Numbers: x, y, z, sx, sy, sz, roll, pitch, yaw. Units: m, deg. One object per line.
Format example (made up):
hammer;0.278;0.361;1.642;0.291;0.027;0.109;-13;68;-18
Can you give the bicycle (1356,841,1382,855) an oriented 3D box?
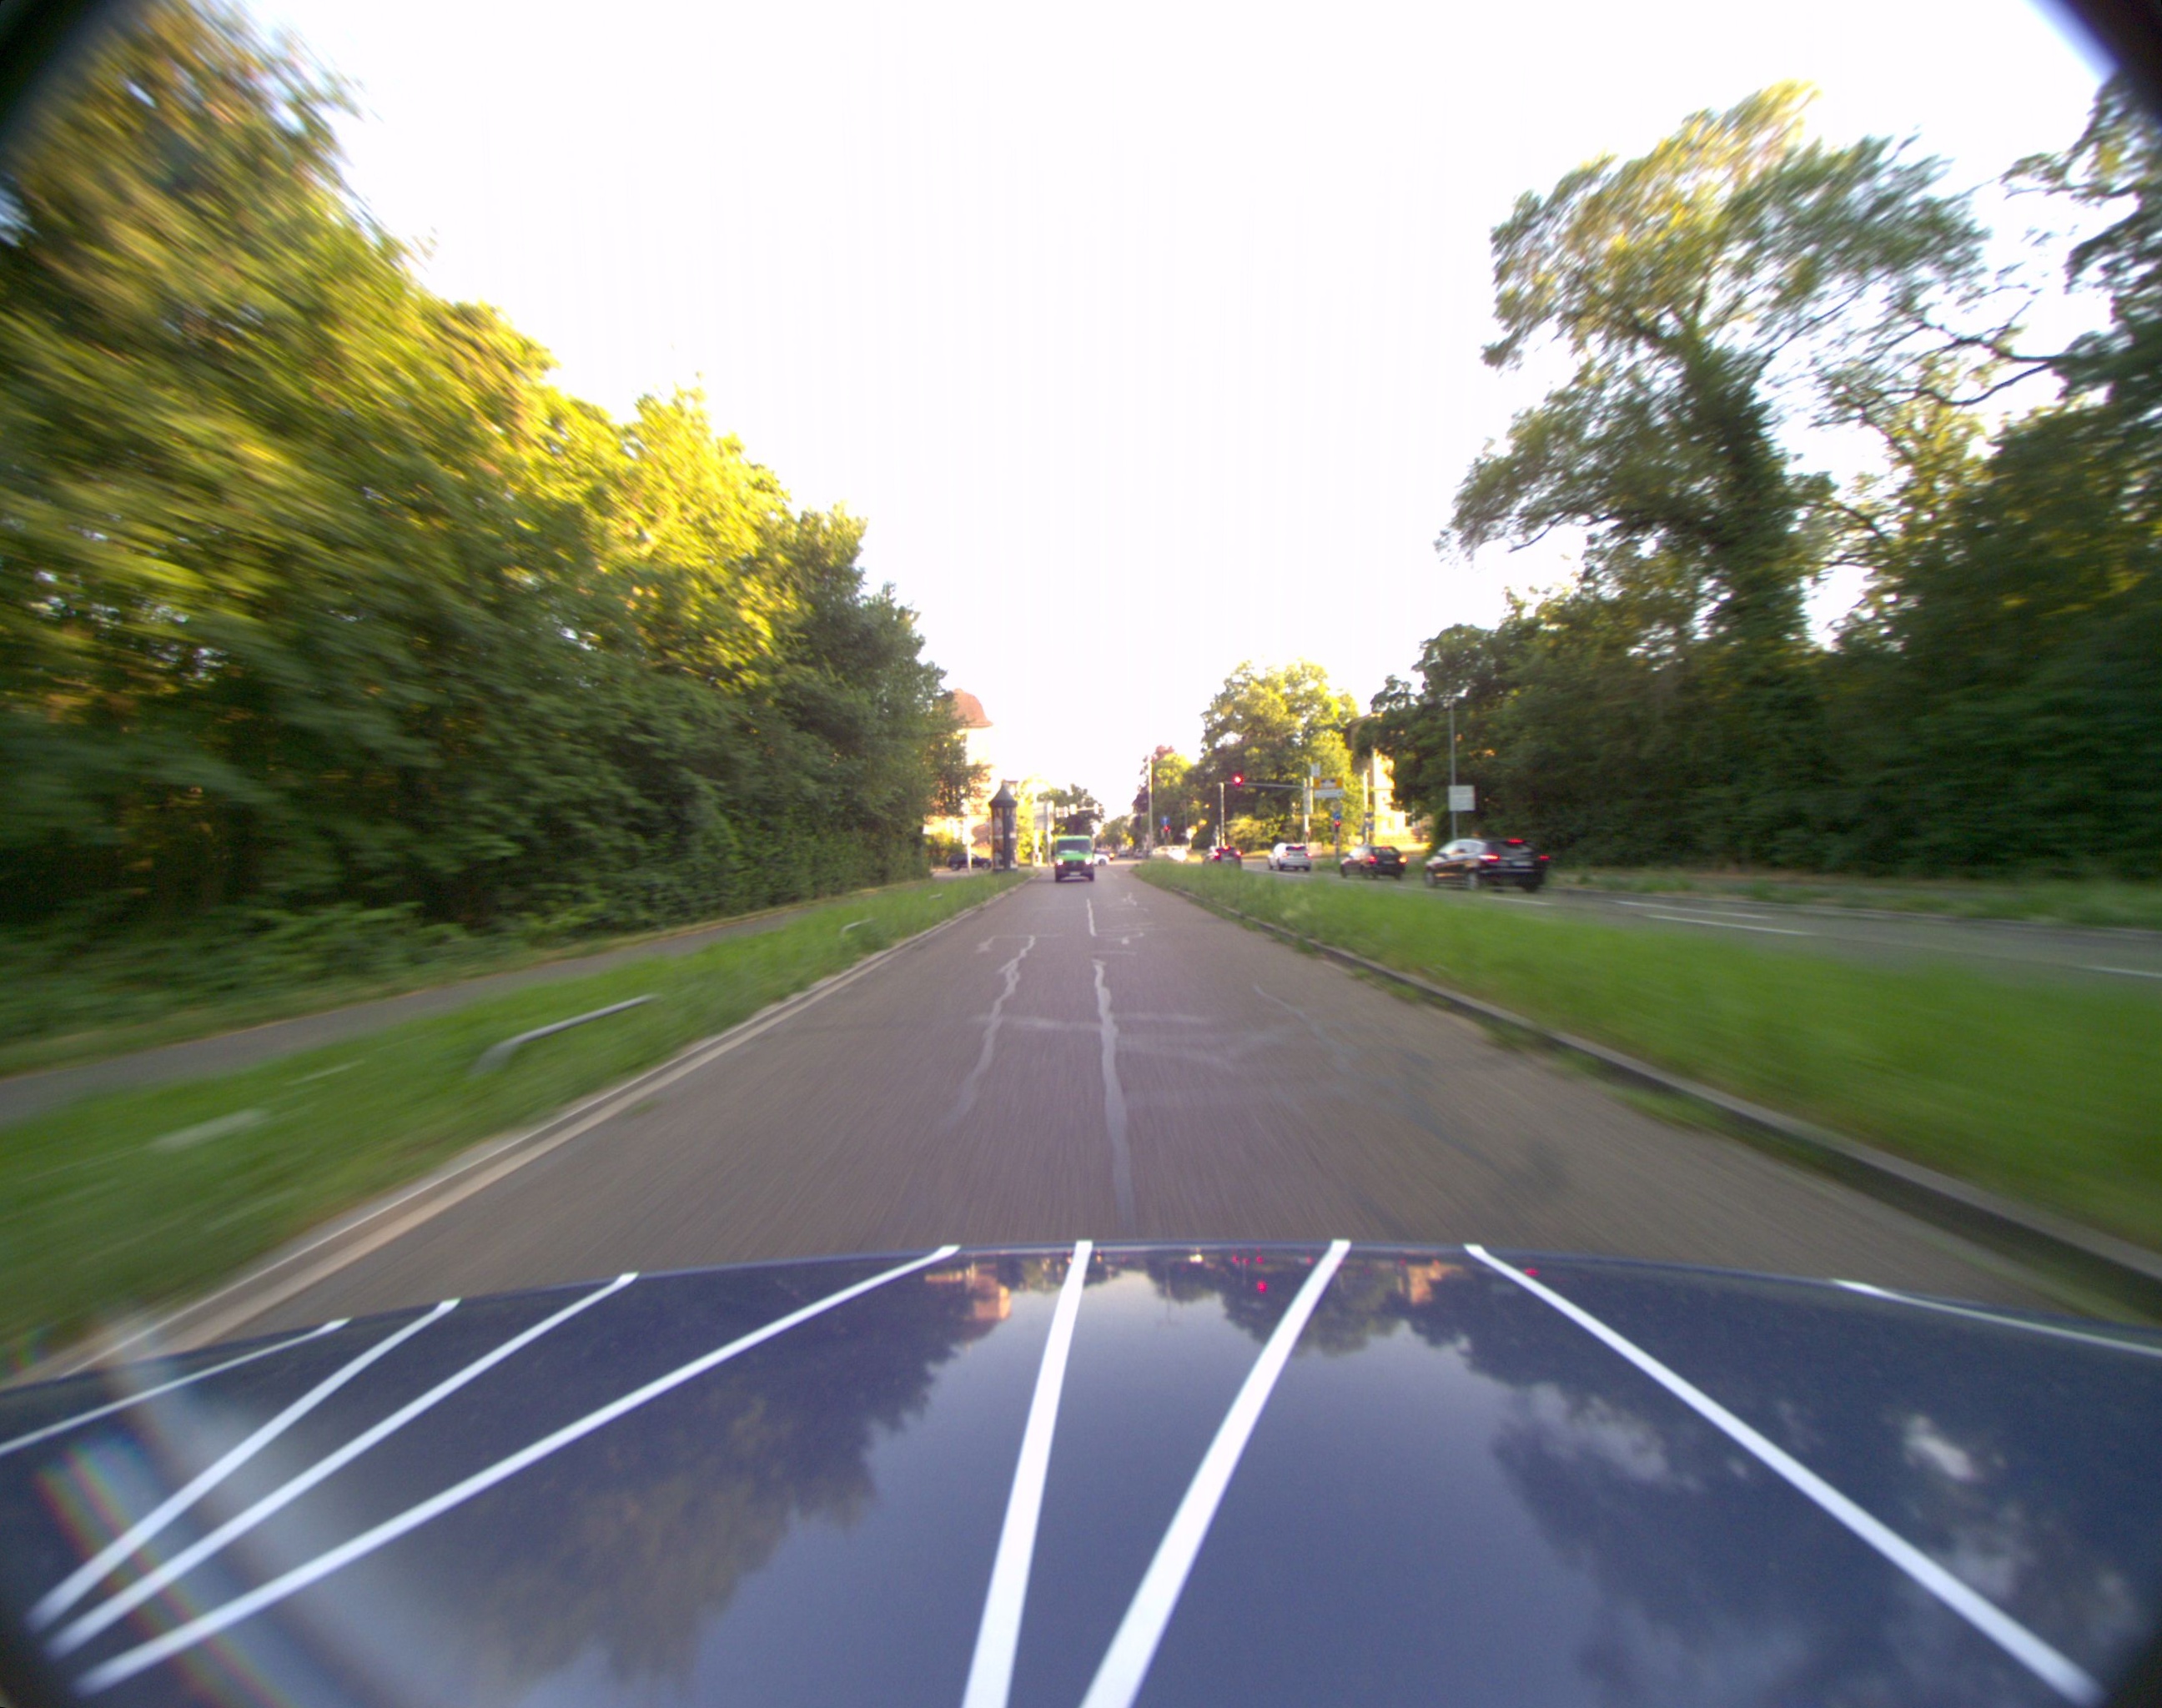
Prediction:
bicycle;21.798;-0.483;57.580;1.802;1.008;0.565;-2;1;-12

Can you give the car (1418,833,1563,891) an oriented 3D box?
car;12.398;0.196;23.425;1.998;1.618;4.650;0;1;0

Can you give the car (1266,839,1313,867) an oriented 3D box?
car;12.728;-0.093;46.686;1.826;1.604;4.641;1;1;3

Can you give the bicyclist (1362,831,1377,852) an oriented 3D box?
bicyclist;21.853;-0.947;57.584;0.899;1.560;0.555;-2;1;-13

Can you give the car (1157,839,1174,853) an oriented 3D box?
car;12.088;-1.122;108.480;1.861;1.835;4.119;-2;1;-1

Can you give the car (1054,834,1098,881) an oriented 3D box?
car;-0.175;0.149;40.284;2.044;2.264;5.941;-2;0;1

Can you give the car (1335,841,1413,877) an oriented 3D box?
car;12.835;0.168;33.530;1.827;1.471;4.232;0;1;0

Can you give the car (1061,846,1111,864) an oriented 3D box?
car;0.426;0.075;67.968;4.188;1.457;1.756;-2;1;-8

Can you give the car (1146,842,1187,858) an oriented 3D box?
car;8.916;-0.385;79.661;1.773;1.626;4.501;-2;1;-32

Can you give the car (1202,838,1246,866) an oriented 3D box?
car;8.595;-0.126;45.976;1.818;1.618;4.450;0;1;0

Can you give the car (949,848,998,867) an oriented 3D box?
car;-9.354;0.307;66.262;3.997;1.527;1.683;-2;1;-1

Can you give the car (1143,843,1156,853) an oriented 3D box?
car;11.671;-1.064;129.233;1.936;1.633;4.000;-2;1;2
